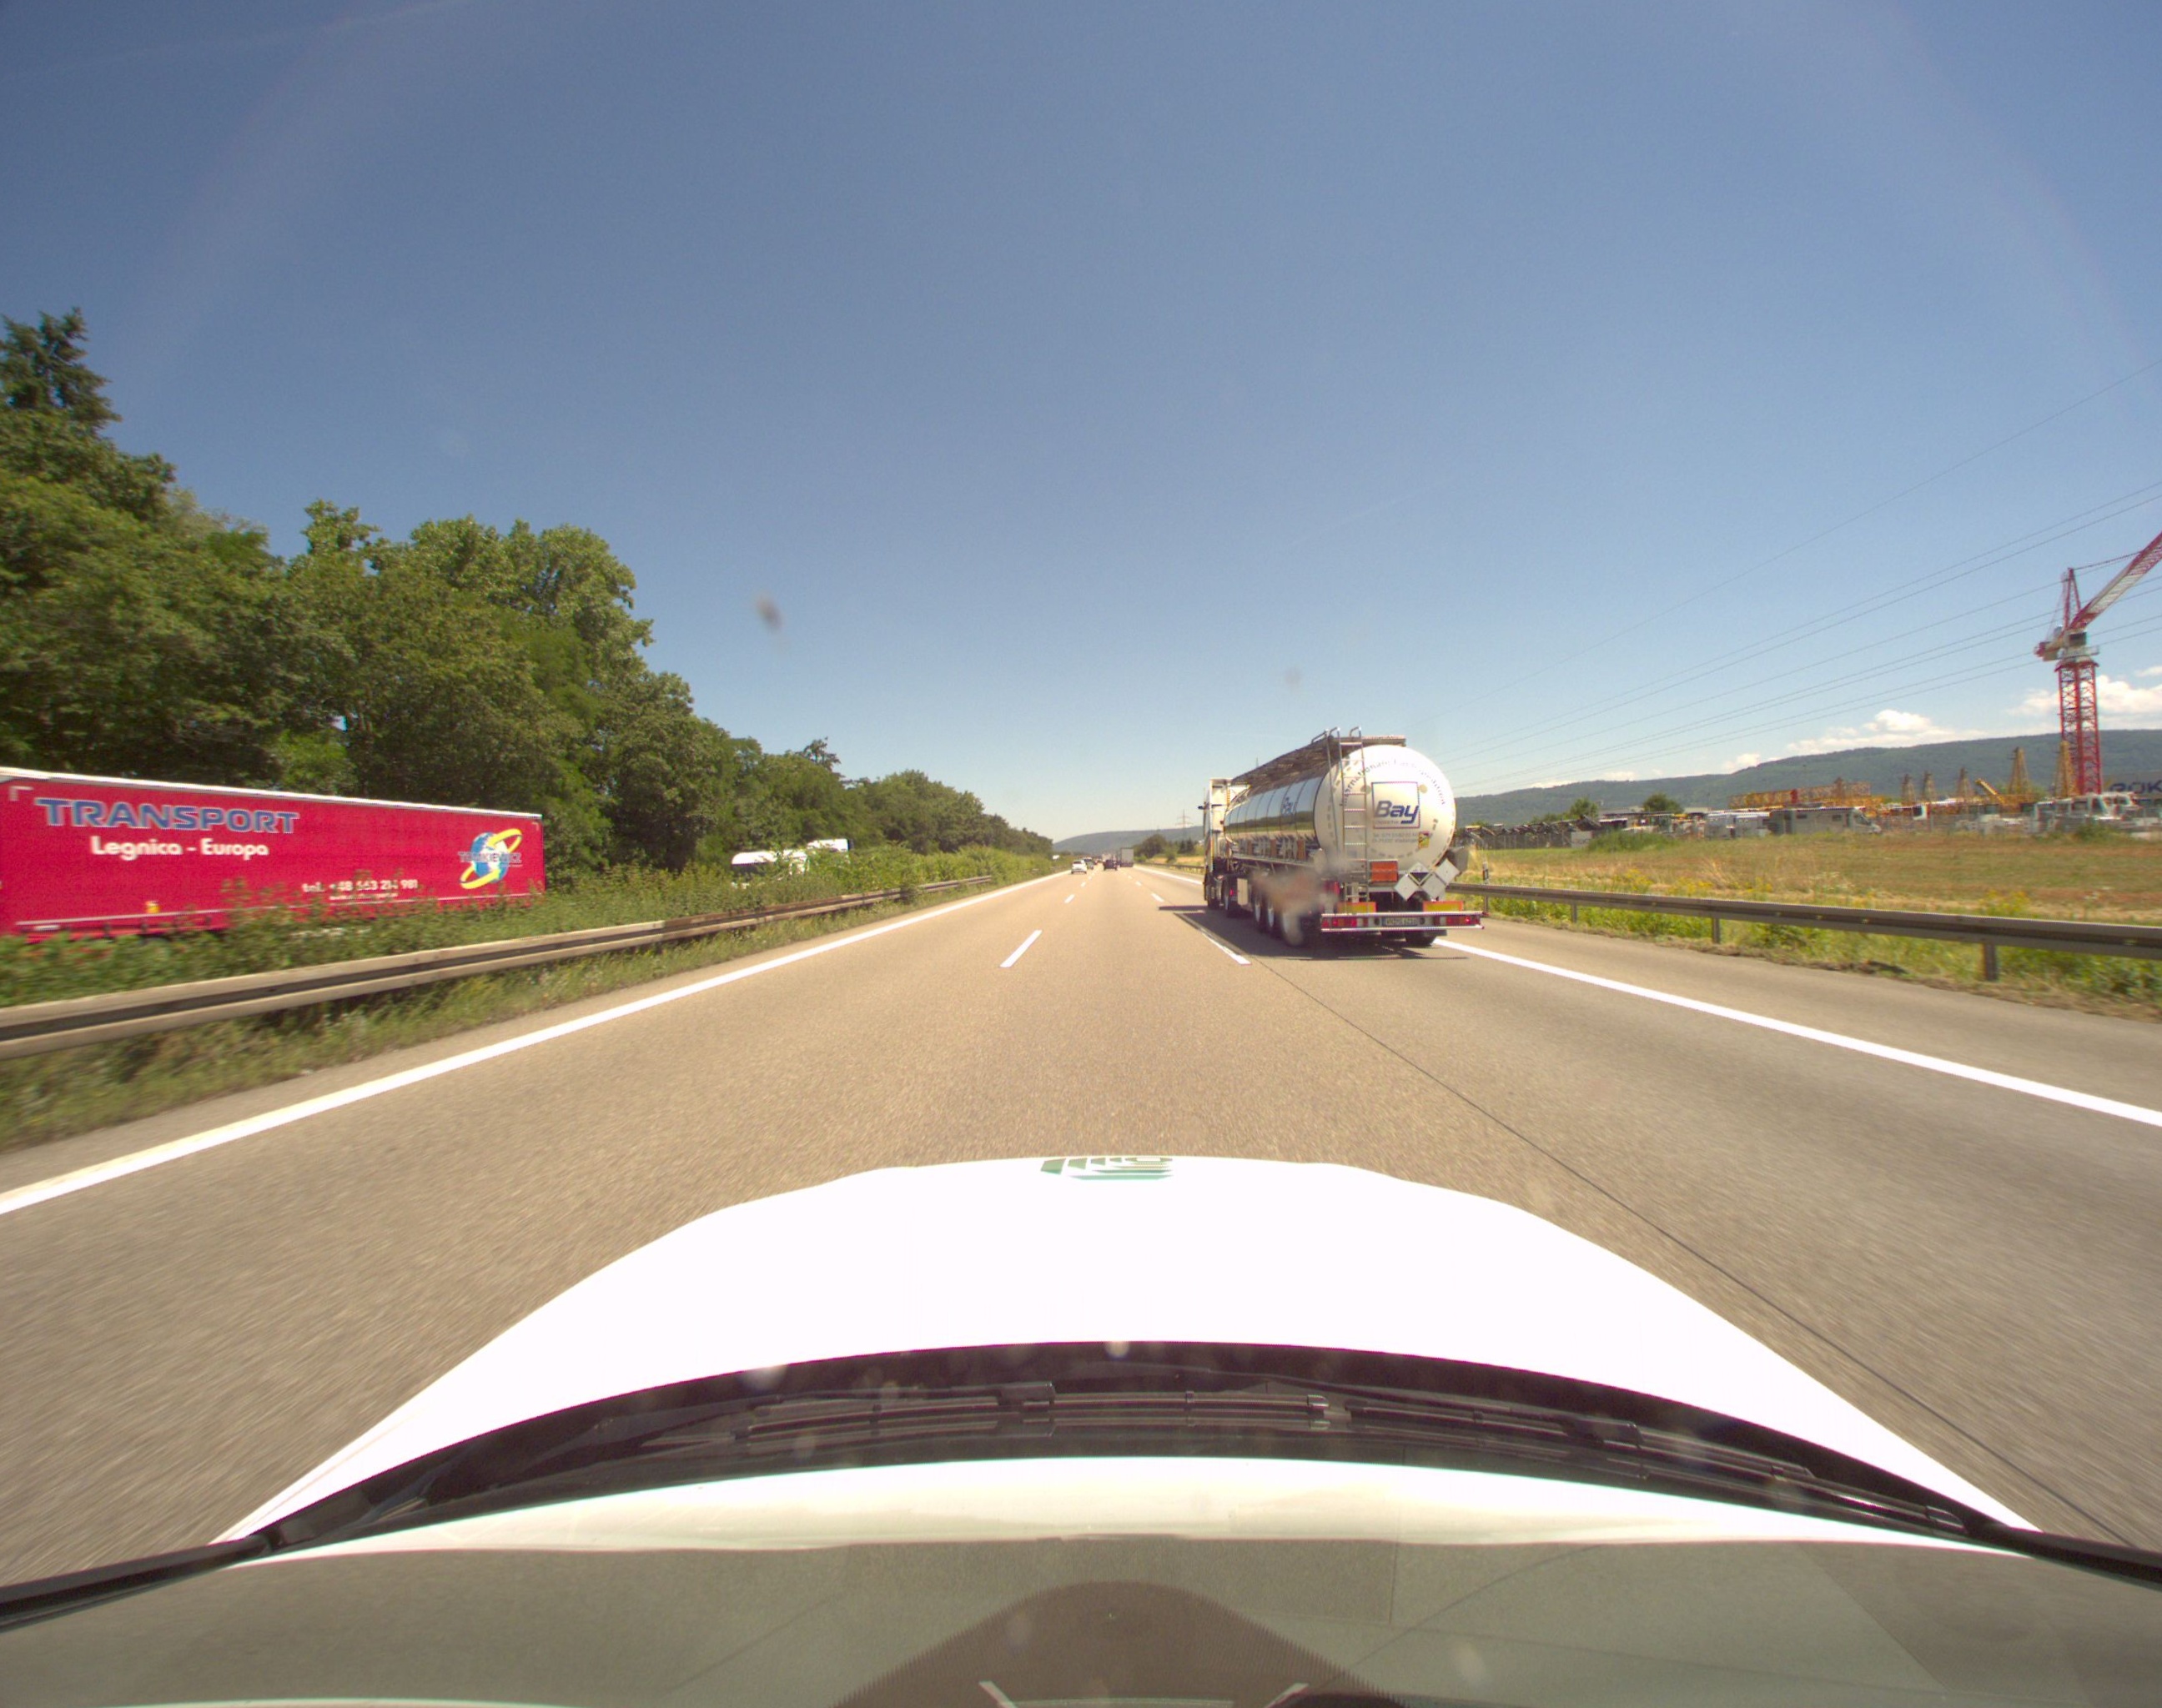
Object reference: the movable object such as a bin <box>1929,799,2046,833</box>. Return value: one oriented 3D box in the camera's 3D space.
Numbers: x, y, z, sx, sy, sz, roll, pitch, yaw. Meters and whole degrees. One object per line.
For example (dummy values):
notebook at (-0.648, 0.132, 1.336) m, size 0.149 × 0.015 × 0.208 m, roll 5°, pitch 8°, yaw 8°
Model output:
movable object such as a bin at (81.047, -3.330, 73.050) m, size 2.902 × 2.554 × 6.810 m, roll -3°, pitch -1°, yaw 2°

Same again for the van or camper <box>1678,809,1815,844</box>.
van or camper at (58.661, -2.413, 71.922) m, size 9.273 × 2.521 × 3.163 m, roll -3°, pitch 0°, yaw 3°

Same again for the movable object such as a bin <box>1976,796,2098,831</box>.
movable object such as a bin at (84.976, -3.505, 72.579) m, size 2.902 × 2.554 × 6.810 m, roll -3°, pitch -1°, yaw 2°

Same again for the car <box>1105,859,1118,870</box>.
car at (4.314, 1.469, 115.181) m, size 1.878 × 1.515 × 4.002 m, roll 0°, pitch 0°, yaw 2°

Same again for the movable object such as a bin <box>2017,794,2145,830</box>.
movable object such as a bin at (88.192, -3.640, 72.041) m, size 2.902 × 2.554 × 6.810 m, roll -3°, pitch -1°, yaw 2°

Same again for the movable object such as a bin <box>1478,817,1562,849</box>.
movable object such as a bin at (58.832, -2.793, 109.319) m, size 9.682 × 3.689 × 2.679 m, roll -3°, pitch -1°, yaw 1°

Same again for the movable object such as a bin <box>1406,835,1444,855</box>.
movable object such as a bin at (59.840, -1.518, 141.827) m, size 5.784 × 3.196 × 2.533 m, roll -4°, pitch -1°, yaw 16°

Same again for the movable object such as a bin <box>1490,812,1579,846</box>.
movable object such as a bin at (57.428, -3.099, 103.248) m, size 9.682 × 3.689 × 2.679 m, roll -3°, pitch -1°, yaw 1°

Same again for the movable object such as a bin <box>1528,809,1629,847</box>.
movable object such as a bin at (57.699, -3.016, 94.635) m, size 9.675 × 3.689 × 2.979 m, roll -3°, pitch -1°, yaw 3°

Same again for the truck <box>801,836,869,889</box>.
truck at (-18.021, 0.619, 60.122) m, size 2.580 × 3.705 × 6.833 m, roll 0°, pitch 0°, yaw 3°

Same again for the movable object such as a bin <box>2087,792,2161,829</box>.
movable object such as a bin at (94.699, -3.926, 72.043) m, size 2.902 × 3.029 × 6.810 m, roll -3°, pitch -1°, yaw 2°

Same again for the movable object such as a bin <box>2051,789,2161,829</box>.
movable object such as a bin at (91.414, -3.947, 72.080) m, size 2.902 × 3.029 × 6.810 m, roll -3°, pitch -1°, yaw 2°

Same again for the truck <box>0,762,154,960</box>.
truck at (-19.982, 0.123, 13.796) m, size 2.588 × 3.422 × 5.118 m, roll 0°, pitch 0°, yaw 1°

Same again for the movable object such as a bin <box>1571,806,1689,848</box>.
movable object such as a bin at (57.332, -2.735, 85.275) m, size 9.664 × 3.689 × 3.425 m, roll -3°, pitch -1°, yaw 7°

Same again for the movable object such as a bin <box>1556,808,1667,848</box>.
movable object such as a bin at (57.699, -2.757, 88.813) m, size 9.664 × 3.689 × 2.982 m, roll -3°, pitch -1°, yaw 7°

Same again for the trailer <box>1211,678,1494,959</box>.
trailer at (4.807, -0.504, 17.326) m, size 2.570 × 4.074 × 11.106 m, roll 0°, pitch 0°, yaw 1°

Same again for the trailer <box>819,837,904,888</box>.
trailer at (-17.650, 0.633, 66.858) m, size 2.580 × 3.705 × 13.699 m, roll 0°, pitch 0°, yaw 3°

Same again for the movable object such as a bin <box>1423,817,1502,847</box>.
movable object such as a bin at (56.385, -3.257, 120.417) m, size 10.216 × 3.689 × 2.665 m, roll -3°, pitch -1°, yaw 1°

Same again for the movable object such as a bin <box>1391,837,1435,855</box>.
movable object such as a bin at (59.429, -1.439, 145.968) m, size 6.827 × 2.688 × 3.191 m, roll -4°, pitch -1°, yaw 16°

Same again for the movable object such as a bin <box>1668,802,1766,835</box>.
movable object such as a bin at (73.742, -4.087, 94.555) m, size 8.644 × 3.149 × 2.927 m, roll -3°, pitch -1°, yaw 6°

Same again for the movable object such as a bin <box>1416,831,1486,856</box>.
movable object such as a bin at (60.214, -1.747, 132.718) m, size 10.157 × 3.415 × 2.537 m, roll -4°, pitch -1°, yaw 27°

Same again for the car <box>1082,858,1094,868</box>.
car at (1.143, 1.396, 129.907) m, size 1.845 × 1.633 × 4.002 m, roll 0°, pitch 0°, yaw 2°

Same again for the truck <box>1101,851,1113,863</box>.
truck at (7.344, 0.823, 231.491) m, size 3.086 × 3.474 × 11.545 m, roll 0°, pitch 0°, yaw 1°

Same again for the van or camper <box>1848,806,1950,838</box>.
van or camper at (71.232, -2.732, 71.035) m, size 6.091 × 2.402 × 2.604 m, roll -3°, pitch 0°, yaw 3°

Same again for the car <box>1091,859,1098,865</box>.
car at (3.778, 2.300, 231.970) m, size 1.845 × 1.633 × 4.002 m, roll 0°, pitch 0°, yaw 2°

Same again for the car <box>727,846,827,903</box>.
car at (-14.629, 0.887, 39.771) m, size 2.294 × 2.401 × 6.521 m, roll 0°, pitch 2°, yaw 1°

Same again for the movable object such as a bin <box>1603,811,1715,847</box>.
movable object such as a bin at (57.774, -2.484, 81.609) m, size 8.681 × 3.006 × 2.962 m, roll -3°, pitch -1°, yaw 7°

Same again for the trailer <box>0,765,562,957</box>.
trailer at (-19.750, 0.139, 21.568) m, size 2.577 × 3.417 × 14.160 m, roll 0°, pitch 0°, yaw 2°

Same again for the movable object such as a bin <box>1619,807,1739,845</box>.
movable object such as a bin at (57.282, -2.612, 78.211) m, size 8.679 × 3.006 × 3.222 m, roll -3°, pitch -1°, yaw 8°

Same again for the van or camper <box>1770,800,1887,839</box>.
van or camper at (55.935, -2.561, 61.076) m, size 6.316 × 2.552 × 2.440 m, roll -3°, pitch 0°, yaw 3°

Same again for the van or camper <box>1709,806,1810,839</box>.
van or camper at (56.102, -2.587, 67.435) m, size 6.091 × 2.402 × 2.604 m, roll -3°, pitch 0°, yaw 3°

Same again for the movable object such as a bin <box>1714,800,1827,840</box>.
movable object such as a bin at (73.334, -3.611, 86.726) m, size 8.997 × 3.572 × 2.927 m, roll -3°, pitch -1°, yaw 6°

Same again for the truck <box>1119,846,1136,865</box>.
truck at (9.557, 0.294, 168.562) m, size 3.253 × 3.857 × 11.634 m, roll 0°, pitch 0°, yaw 1°

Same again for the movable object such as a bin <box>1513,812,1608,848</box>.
movable object such as a bin at (57.797, -2.907, 98.330) m, size 9.675 × 3.689 × 2.636 m, roll -3°, pitch -1°, yaw 3°

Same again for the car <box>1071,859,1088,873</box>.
car at (-0.159, 1.307, 90.484) m, size 1.800 × 1.468 × 4.002 m, roll 0°, pitch 0°, yaw 2°

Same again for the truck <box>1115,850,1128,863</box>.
truck at (11.234, 0.626, 226.775) m, size 3.086 × 3.474 × 11.545 m, roll 0°, pitch 0°, yaw 1°

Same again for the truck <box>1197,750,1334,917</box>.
truck at (4.950, -0.492, 23.023) m, size 2.564 × 4.072 × 6.394 m, roll 0°, pitch 0°, yaw 1°

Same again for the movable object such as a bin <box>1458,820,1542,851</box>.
movable object such as a bin at (58.023, -2.585, 112.999) m, size 10.216 × 3.689 × 2.394 m, roll -3°, pitch -1°, yaw 1°

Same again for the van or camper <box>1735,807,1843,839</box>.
van or camper at (56.064, -2.439, 64.599) m, size 6.091 × 2.220 × 2.604 m, roll -3°, pitch 0°, yaw 3°
